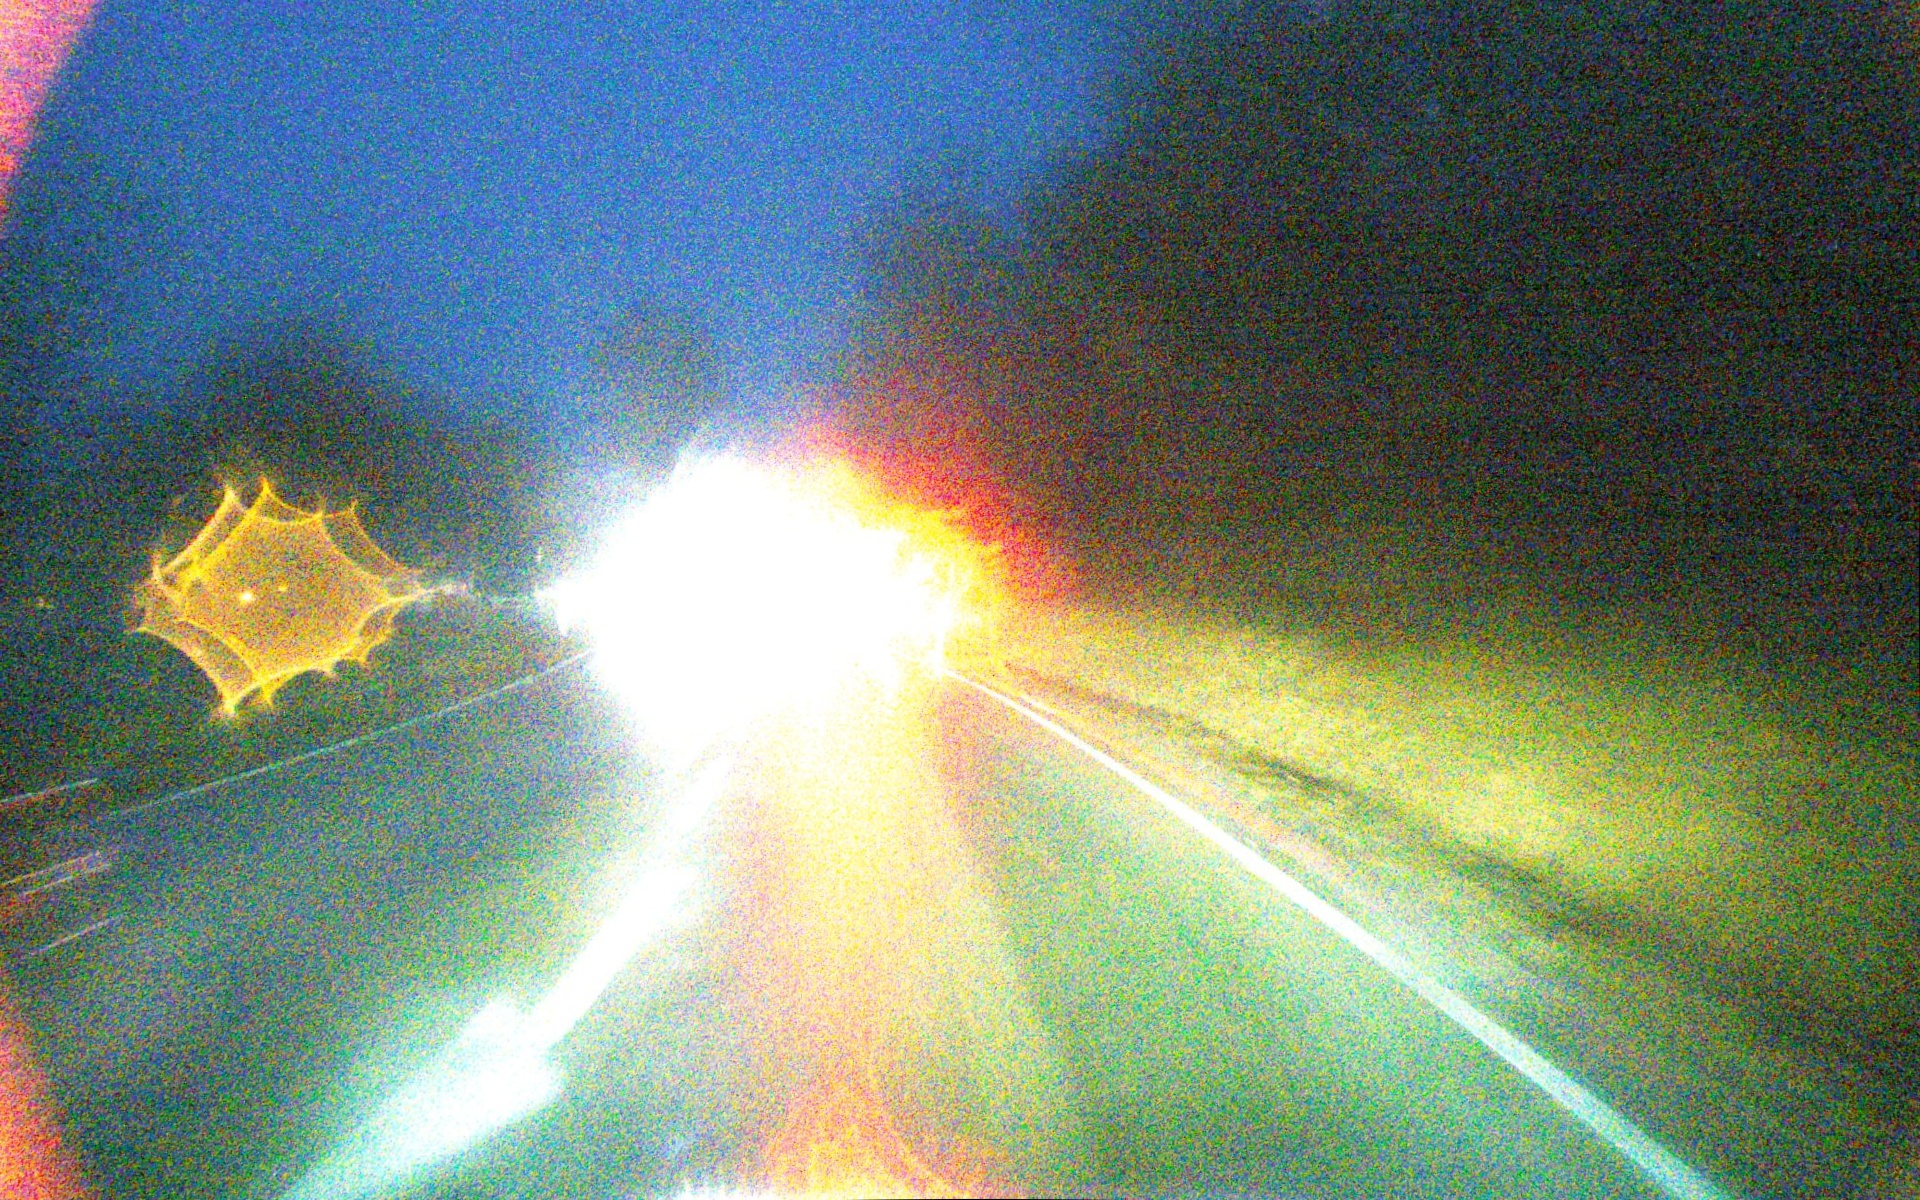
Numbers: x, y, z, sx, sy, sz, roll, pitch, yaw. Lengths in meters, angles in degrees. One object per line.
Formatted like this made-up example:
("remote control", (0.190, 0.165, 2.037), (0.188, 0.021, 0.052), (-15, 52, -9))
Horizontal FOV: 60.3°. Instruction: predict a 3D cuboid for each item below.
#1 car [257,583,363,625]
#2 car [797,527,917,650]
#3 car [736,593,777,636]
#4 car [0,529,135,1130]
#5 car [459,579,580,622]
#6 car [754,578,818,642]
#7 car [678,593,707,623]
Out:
("car", (-27.951, 0.163, 71.123), (4.100, 1.717, 1.679), (-1, -1, -27))
("car", (-2.411, -0.245, 37.113), (2.490, 2.542, 5.707), (0, 0, -6))
("car", (-9.221, 0.680, 74.787), (1.708, 1.744, 3.692), (3, -3, -8))
("car", (-3.184, 0.575, 2.867), (1.603, 1.536, 4.093), (1, 0, -3))
("car", (-18.732, 0.029, 70.524), (4.825, 1.765, 1.994), (0, 0, -12))
("car", (-6.351, 0.404, 60.079), (1.957, 2.049, 3.989), (3, -3, -10))
("car", (-17.327, 0.512, 107.108), (1.722, 1.764, 3.990), (3, 0, -10))
